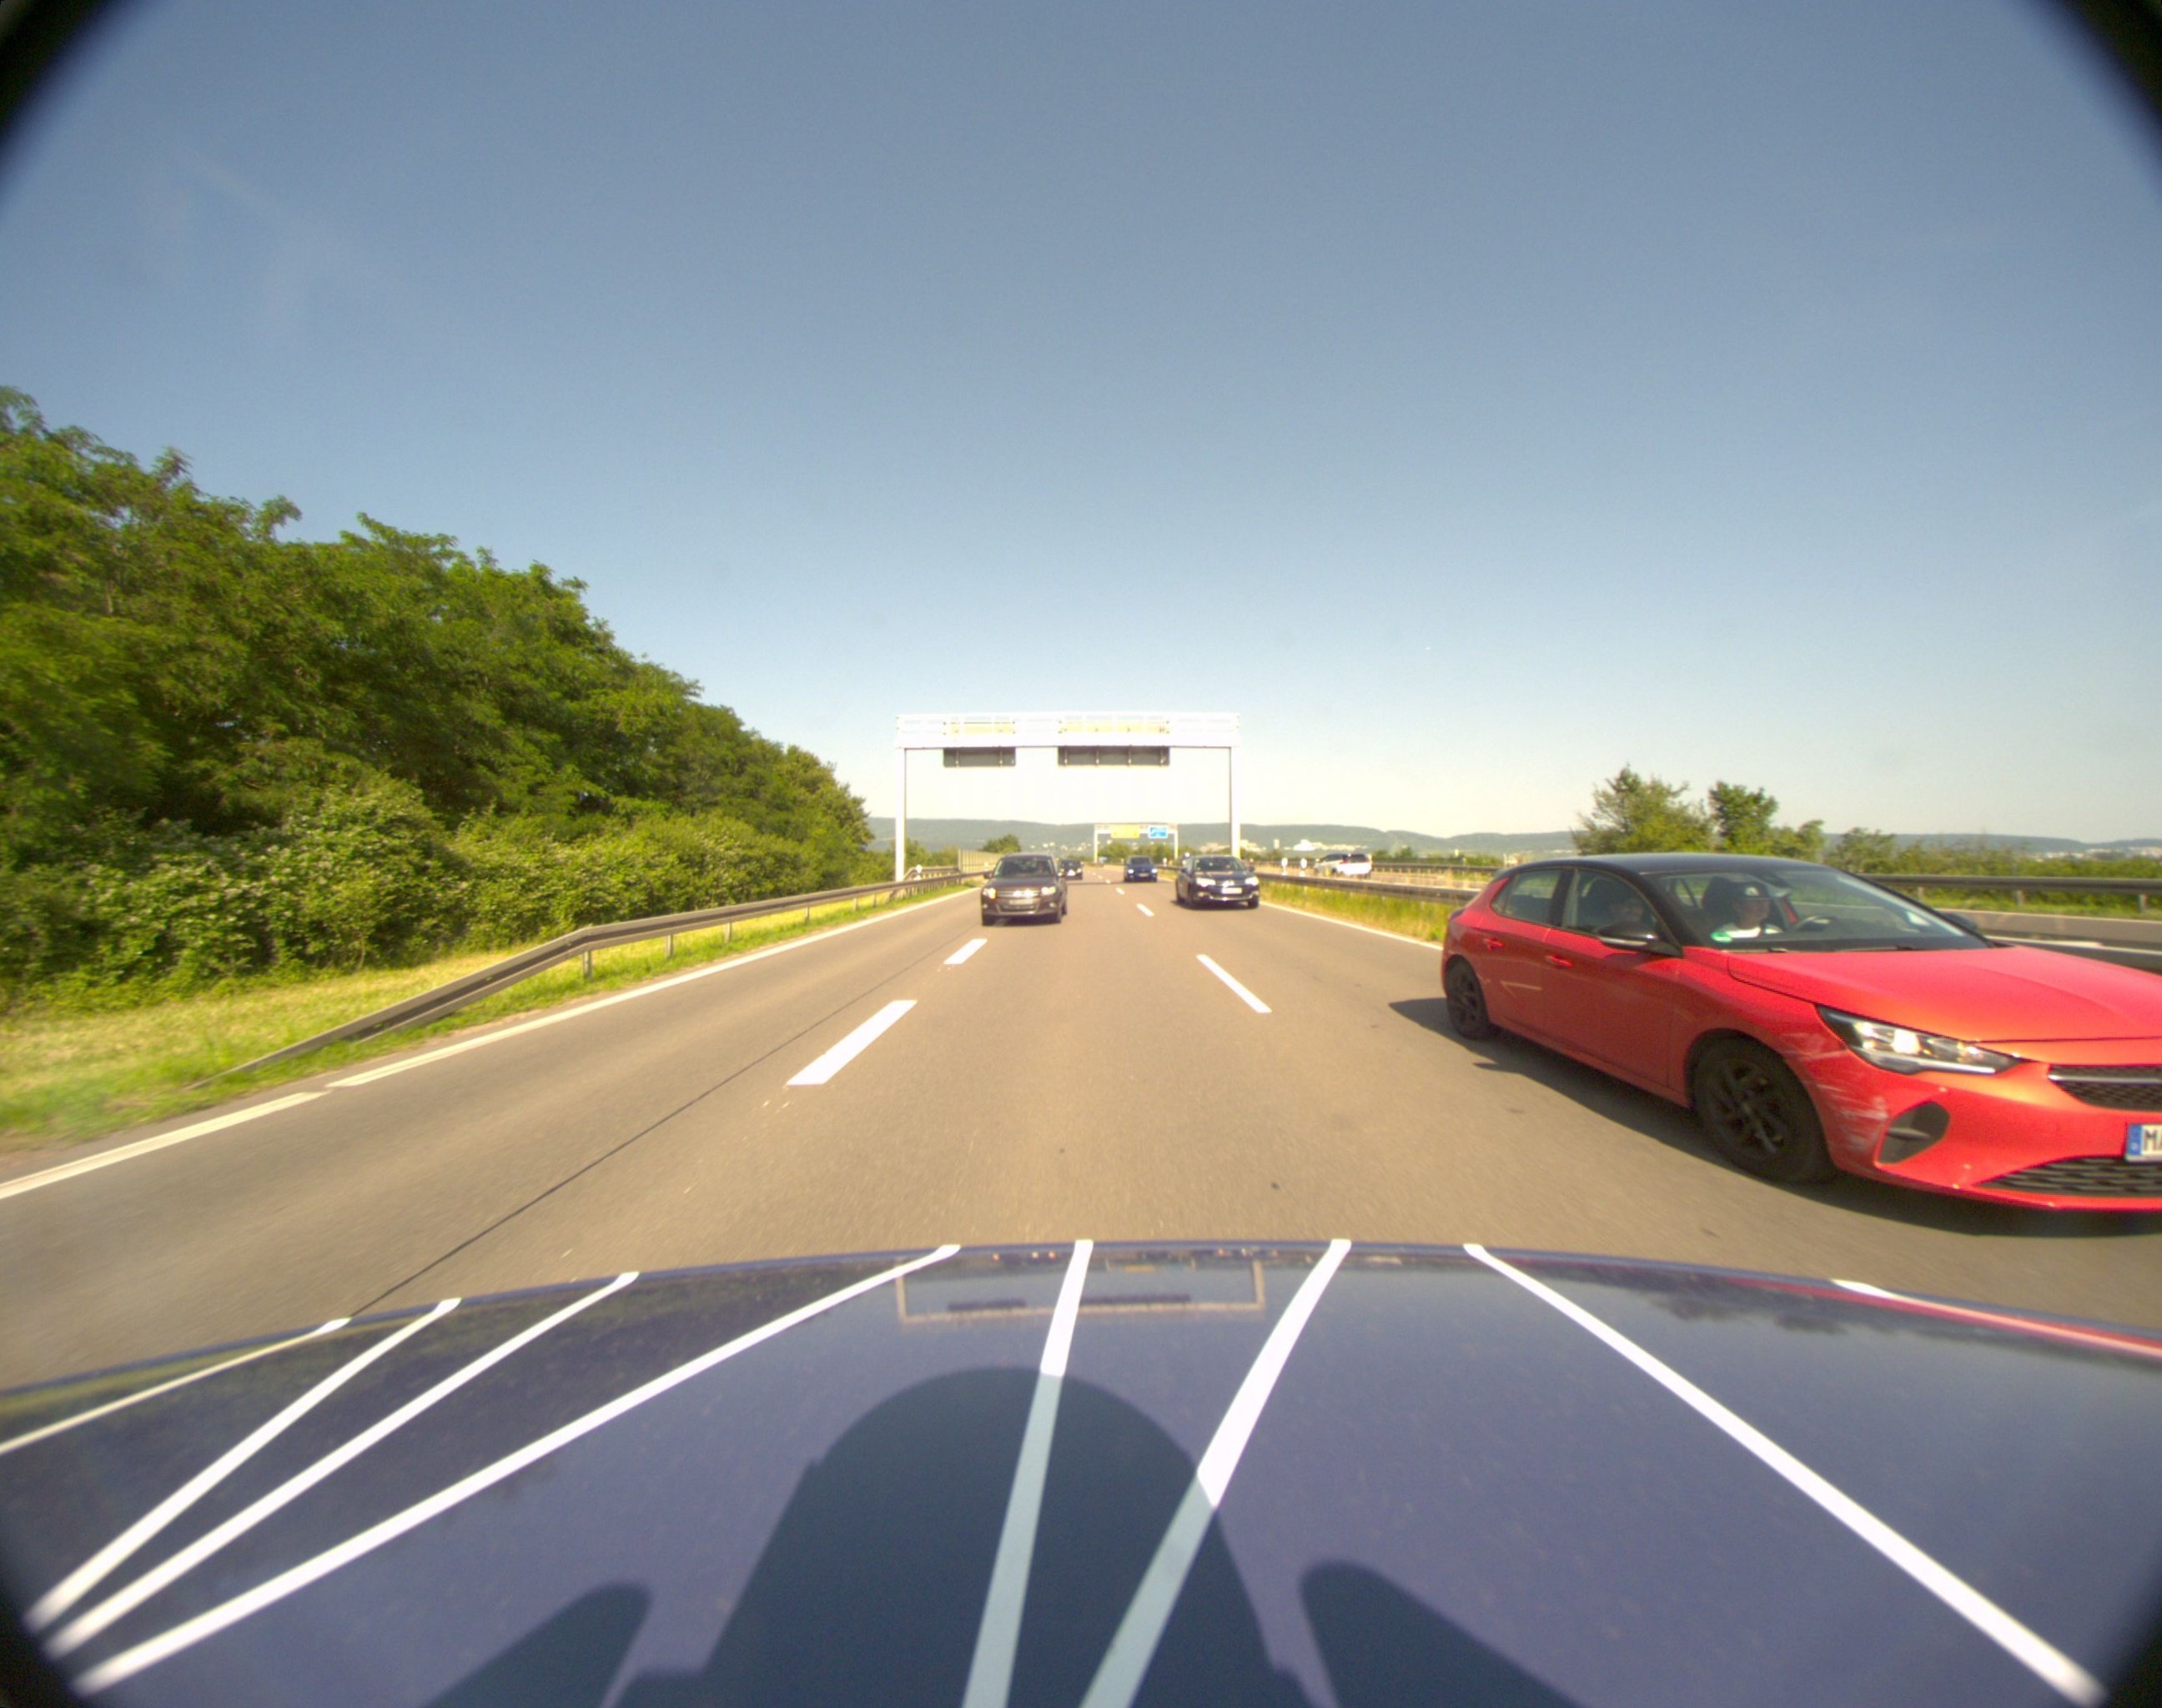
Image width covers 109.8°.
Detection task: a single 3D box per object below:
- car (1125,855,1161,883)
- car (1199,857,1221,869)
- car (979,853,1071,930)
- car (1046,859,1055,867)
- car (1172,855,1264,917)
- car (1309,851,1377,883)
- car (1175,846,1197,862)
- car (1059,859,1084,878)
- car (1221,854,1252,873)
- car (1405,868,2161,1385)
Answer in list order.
[{"bbox_3d":[3.504,0.827,43.522,1.652,1.403,3.775,-2,1,-1],"label":"car"},{"bbox_3d":[13.832,0.935,81.735,1.570,1.262,3.715,-1,-1,-2],"label":"car"},{"bbox_3d":[-1.260,0.850,18.692,1.789,1.637,4.149,-2,-1,2],"label":"car"},{"bbox_3d":[-6.526,1.948,161.905,1.677,1.521,4.000,-2,0,0],"label":"car"},{"bbox_3d":[3.758,0.816,21.551,1.788,1.524,4.375,-2,0,0],"label":"car"},{"bbox_3d":[14.448,0.688,42.183,1.907,1.611,4.628,-2,0,-4],"label":"car"},{"bbox_3d":[13.333,0.038,96.724,1.999,1.894,4.416,-1,0,-2],"label":"car"},{"bbox_3d":[-0.671,0.991,52.331,1.601,1.241,4.000,-2,0,-2],"label":"car"},{"bbox_3d":[13.494,0.809,66.212,1.737,1.607,4.002,-1,0,-1],"label":"car"},{"bbox_3d":[3.736,0.855,4.482,1.713,1.428,4.411,-1,0,0],"label":"car"}]
